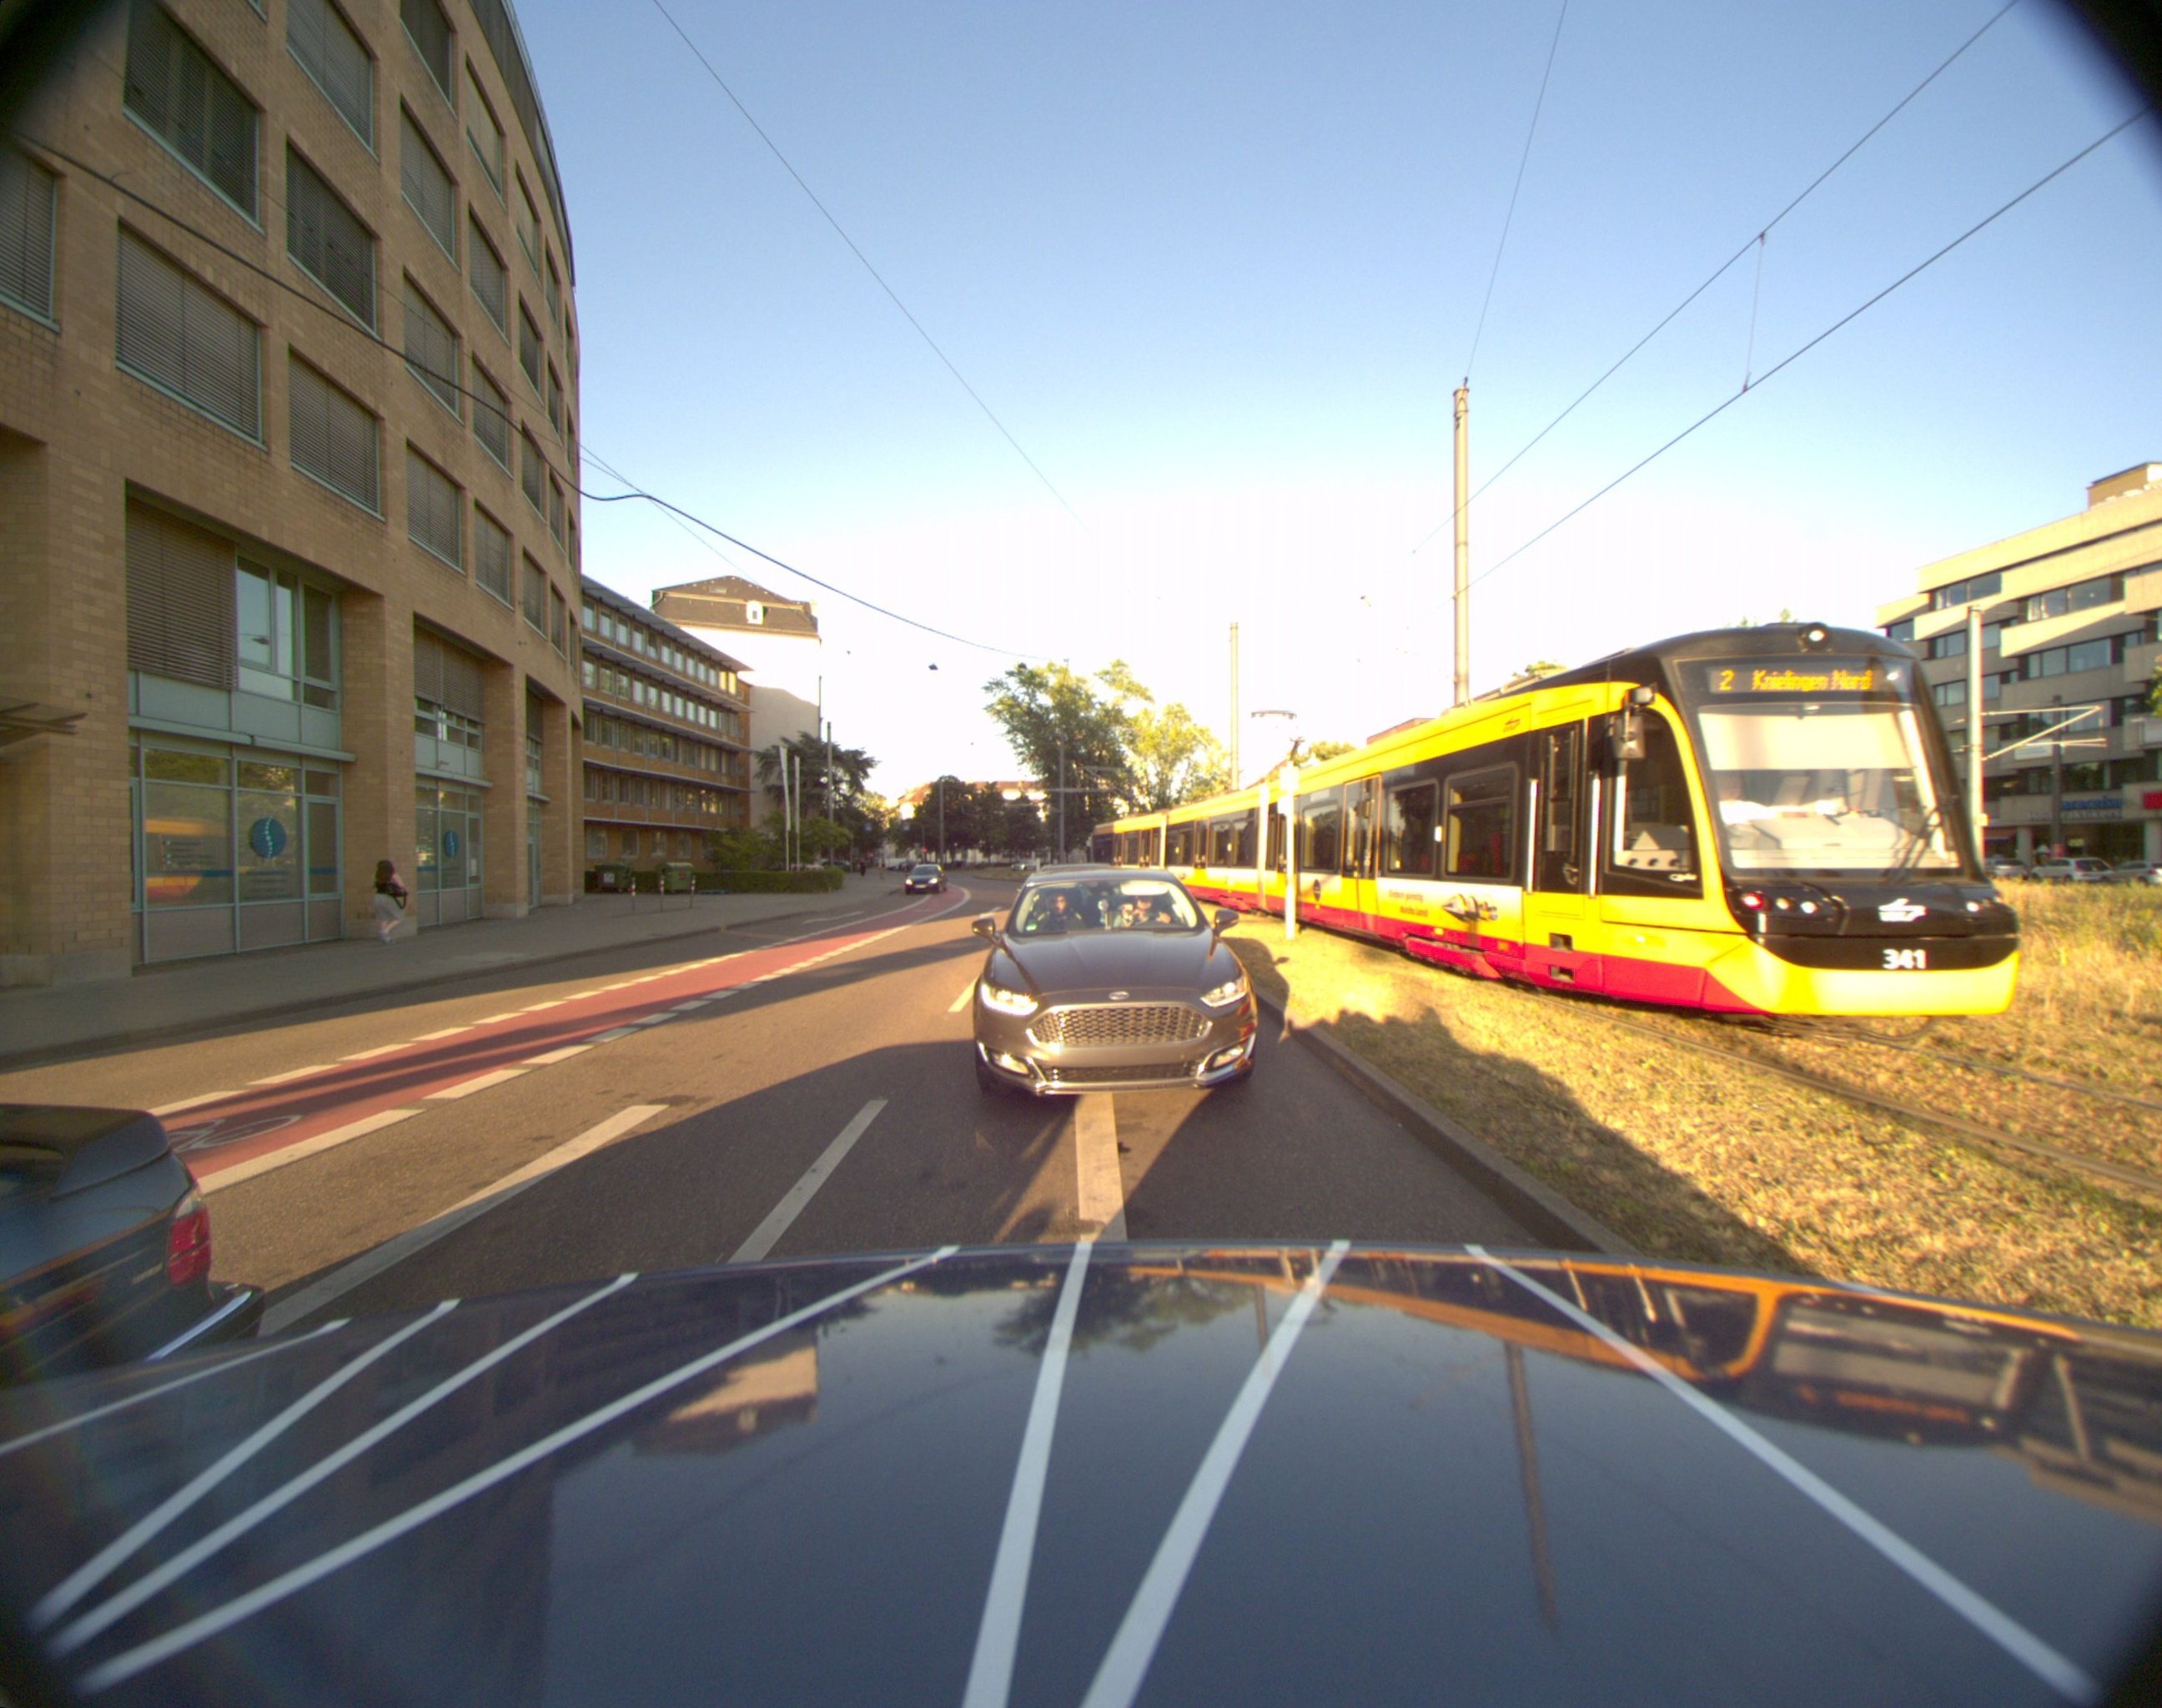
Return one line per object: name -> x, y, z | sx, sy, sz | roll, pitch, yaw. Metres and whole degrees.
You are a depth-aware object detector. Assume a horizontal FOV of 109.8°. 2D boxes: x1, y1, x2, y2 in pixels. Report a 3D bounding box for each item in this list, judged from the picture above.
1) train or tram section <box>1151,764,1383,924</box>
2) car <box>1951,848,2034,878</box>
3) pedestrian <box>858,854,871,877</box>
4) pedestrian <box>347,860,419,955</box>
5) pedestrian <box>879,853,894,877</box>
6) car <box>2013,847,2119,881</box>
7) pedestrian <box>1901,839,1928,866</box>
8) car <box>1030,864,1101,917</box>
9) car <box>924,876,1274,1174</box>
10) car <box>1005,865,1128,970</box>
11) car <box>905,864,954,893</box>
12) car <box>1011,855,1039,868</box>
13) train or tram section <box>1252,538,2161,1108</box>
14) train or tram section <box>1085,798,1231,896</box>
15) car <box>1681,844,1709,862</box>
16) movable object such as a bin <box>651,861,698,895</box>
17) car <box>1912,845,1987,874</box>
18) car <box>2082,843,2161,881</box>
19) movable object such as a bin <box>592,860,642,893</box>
train or tram section -> 4.942, -0.245, 23.856 | 2.886, 3.717, 12.175 | -1, 0, -7
car -> 58.827, 0.562, 49.135 | 1.995, 1.868, 4.007 | 0, 0, 27
pedestrian -> -17.073, 0.877, 59.962 | 0.728, 1.797, 0.724 | -1, 1, 1
pedestrian -> -12.736, 0.949, 13.876 | 0.628, 1.672, 0.713 | -1, 1, -3
pedestrian -> -15.215, 0.846, 59.455 | 0.913, 1.883, 1.124 | -1, 1, -28
car -> 56.292, 0.555, 43.534 | 1.995, 1.868, 4.006 | -1, 0, 22
pedestrian -> 63.779, -0.088, 58.142 | 1.138, 2.023, 0.892 | -1, 1, 3
car -> -0.570, 1.083, 24.115 | 1.999, 1.453, 4.141 | -1, 0, -5
car -> 0.138, 1.001, 6.497 | 1.890, 1.477, 4.725 | 0, 0, 1
car -> -0.177, 1.011, 14.095 | 1.897, 1.526, 4.705 | -1, 0, 1
car -> -7.874, 1.242, 39.803 | 1.759, 1.379, 3.999 | -2, 0, -1
car -> -7.392, 0.982, 101.233 | 1.995, 1.739, 4.007 | 0, 0, 24
train or tram section -> 5.650, -0.222, 11.614 | 2.916, 3.717, 13.216 | -1, 0, -1
train or tram section -> 3.031, -0.280, 35.176 | 2.916, 3.717, 12.177 | -1, 0, -13
car -> 72.110, -0.156, 89.289 | 1.995, 2.002, 4.007 | -2, 1, 32
movable object such as a bin -> -18.275, 1.056, 34.211 | 1.427, 1.450, 1.332 | -1, 0, -3
car -> 61.329, 0.378, 53.764 | 1.995, 1.925, 4.007 | -1, 0, 24
car -> 54.239, 0.401, 38.878 | 1.921, 1.853, 4.006 | 0, 0, 23
movable object such as a bin -> -21.190, 1.029, 34.740 | 1.427, 1.450, 1.332 | -1, 0, -2
